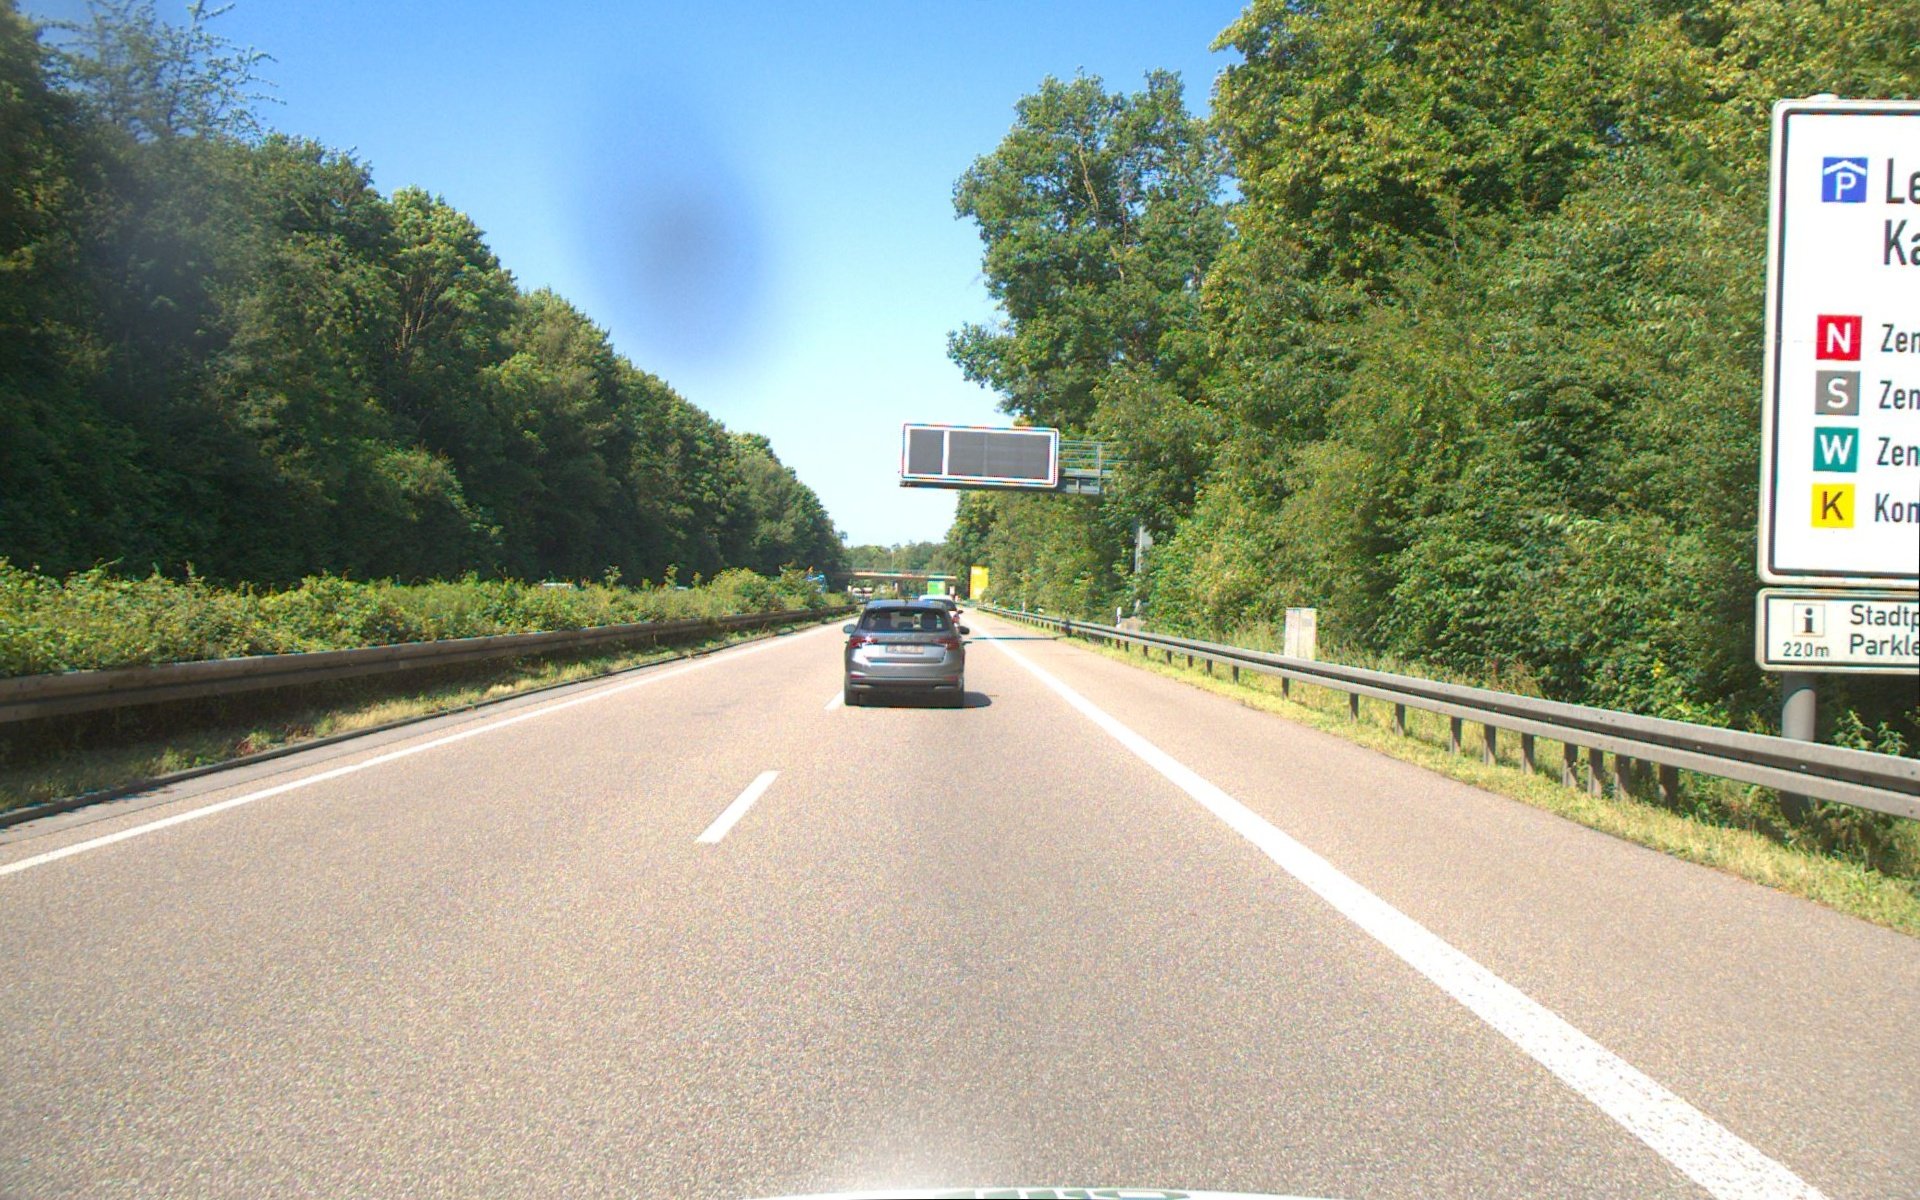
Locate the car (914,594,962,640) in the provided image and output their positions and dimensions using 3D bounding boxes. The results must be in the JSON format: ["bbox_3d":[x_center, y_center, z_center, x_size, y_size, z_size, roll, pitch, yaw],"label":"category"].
[{"bbox_3d":[-0.714,0.545,55.818,1.491,1.472,3.340,1,0,1],"label":"car"}]

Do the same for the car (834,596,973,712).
[{"bbox_3d":[-0.735,0.715,23.814,1.802,1.497,3.624,1,0,1],"label":"car"}]

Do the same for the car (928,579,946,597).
[{"bbox_3d":[-3.405,-1.761,245.848,2.693,2.701,3.999,1,0,-1],"label":"car"}]

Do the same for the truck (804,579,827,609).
[{"bbox_3d":[-18.690,-0.764,213.845,2.592,3.771,3.999,1,0,-1],"label":"truck"}]

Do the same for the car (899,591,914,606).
[{"bbox_3d":[-7.117,-0.188,220.331,1.953,2.049,3.999,1,0,-1],"label":"car"}]
